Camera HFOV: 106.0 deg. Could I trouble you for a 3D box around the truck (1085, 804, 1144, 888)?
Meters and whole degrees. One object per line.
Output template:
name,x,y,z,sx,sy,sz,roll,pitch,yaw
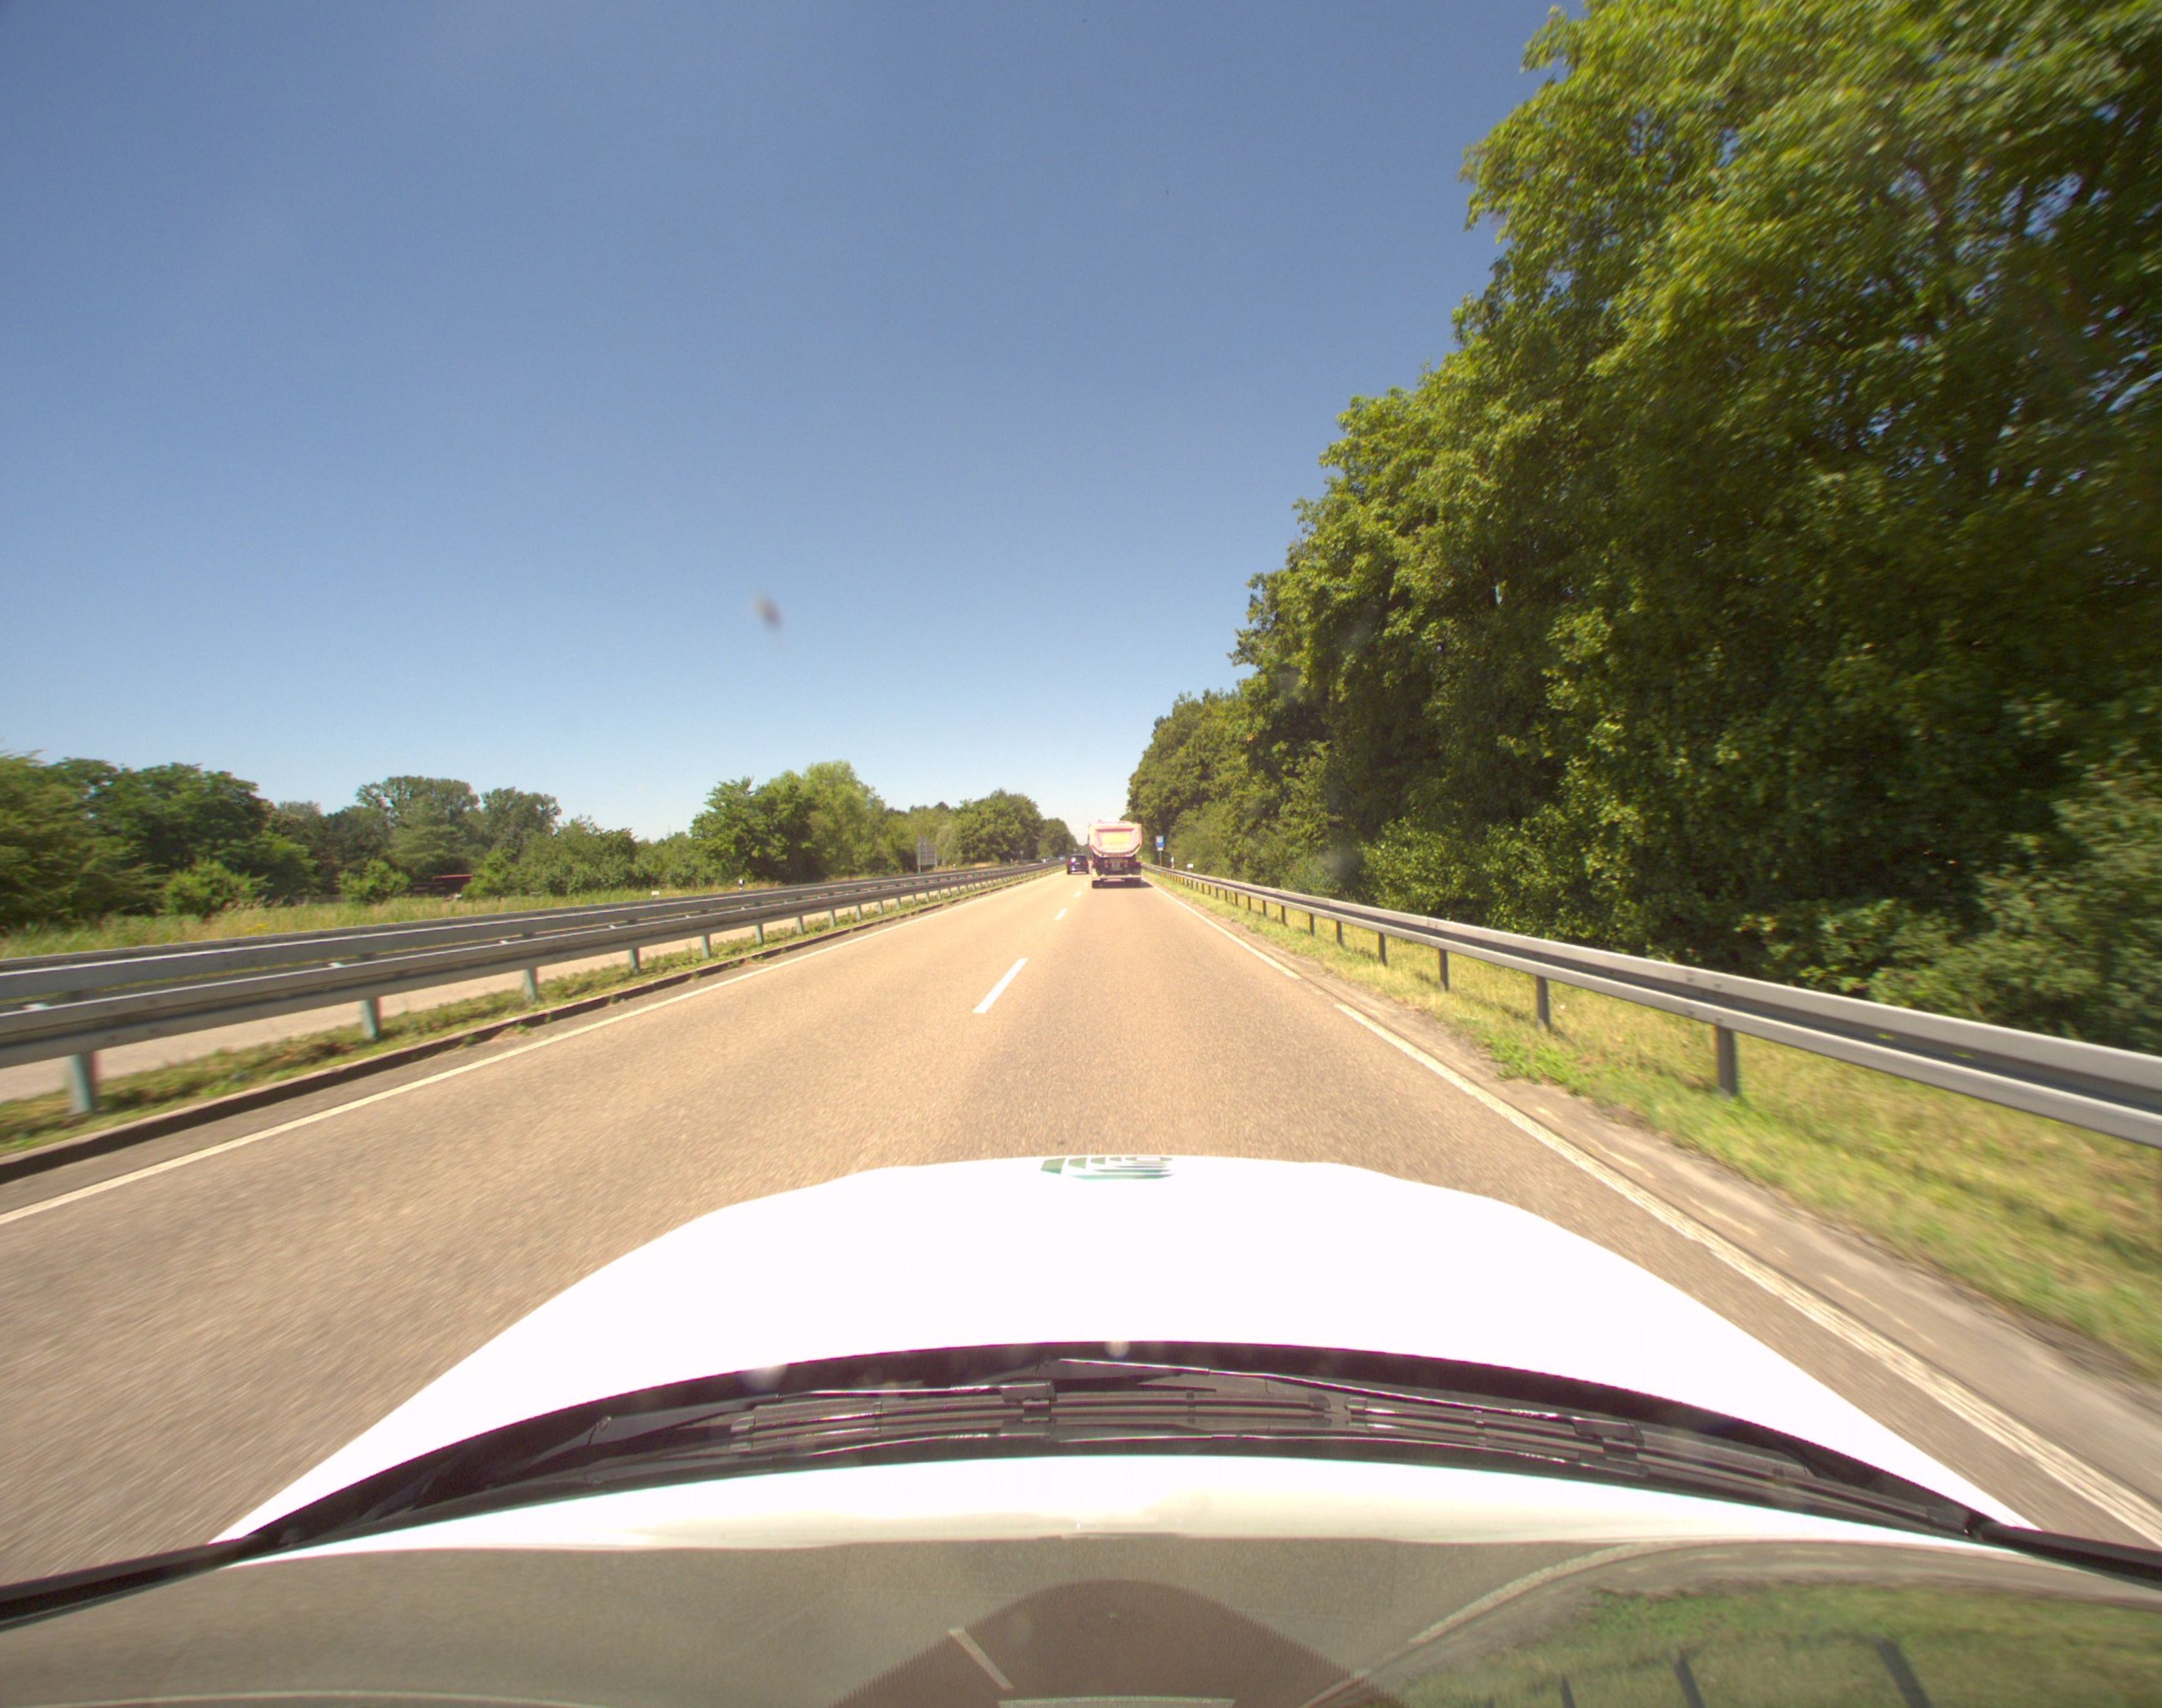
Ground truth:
truck,1.738,-0.383,44.881,2.710,3.930,12.372,-2,0,1

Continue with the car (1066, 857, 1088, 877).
car,-0.326,1.160,72.314,1.851,1.671,4.000,-1,-2,1

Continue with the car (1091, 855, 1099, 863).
car,3.149,1.061,184.760,1.851,1.718,4.000,-1,-2,1

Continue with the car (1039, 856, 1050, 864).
car,-7.884,1.268,177.198,1.772,1.620,4.510,-4,0,4

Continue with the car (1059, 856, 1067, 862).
car,-5.173,1.524,230.975,1.805,1.543,4.931,-4,0,2
